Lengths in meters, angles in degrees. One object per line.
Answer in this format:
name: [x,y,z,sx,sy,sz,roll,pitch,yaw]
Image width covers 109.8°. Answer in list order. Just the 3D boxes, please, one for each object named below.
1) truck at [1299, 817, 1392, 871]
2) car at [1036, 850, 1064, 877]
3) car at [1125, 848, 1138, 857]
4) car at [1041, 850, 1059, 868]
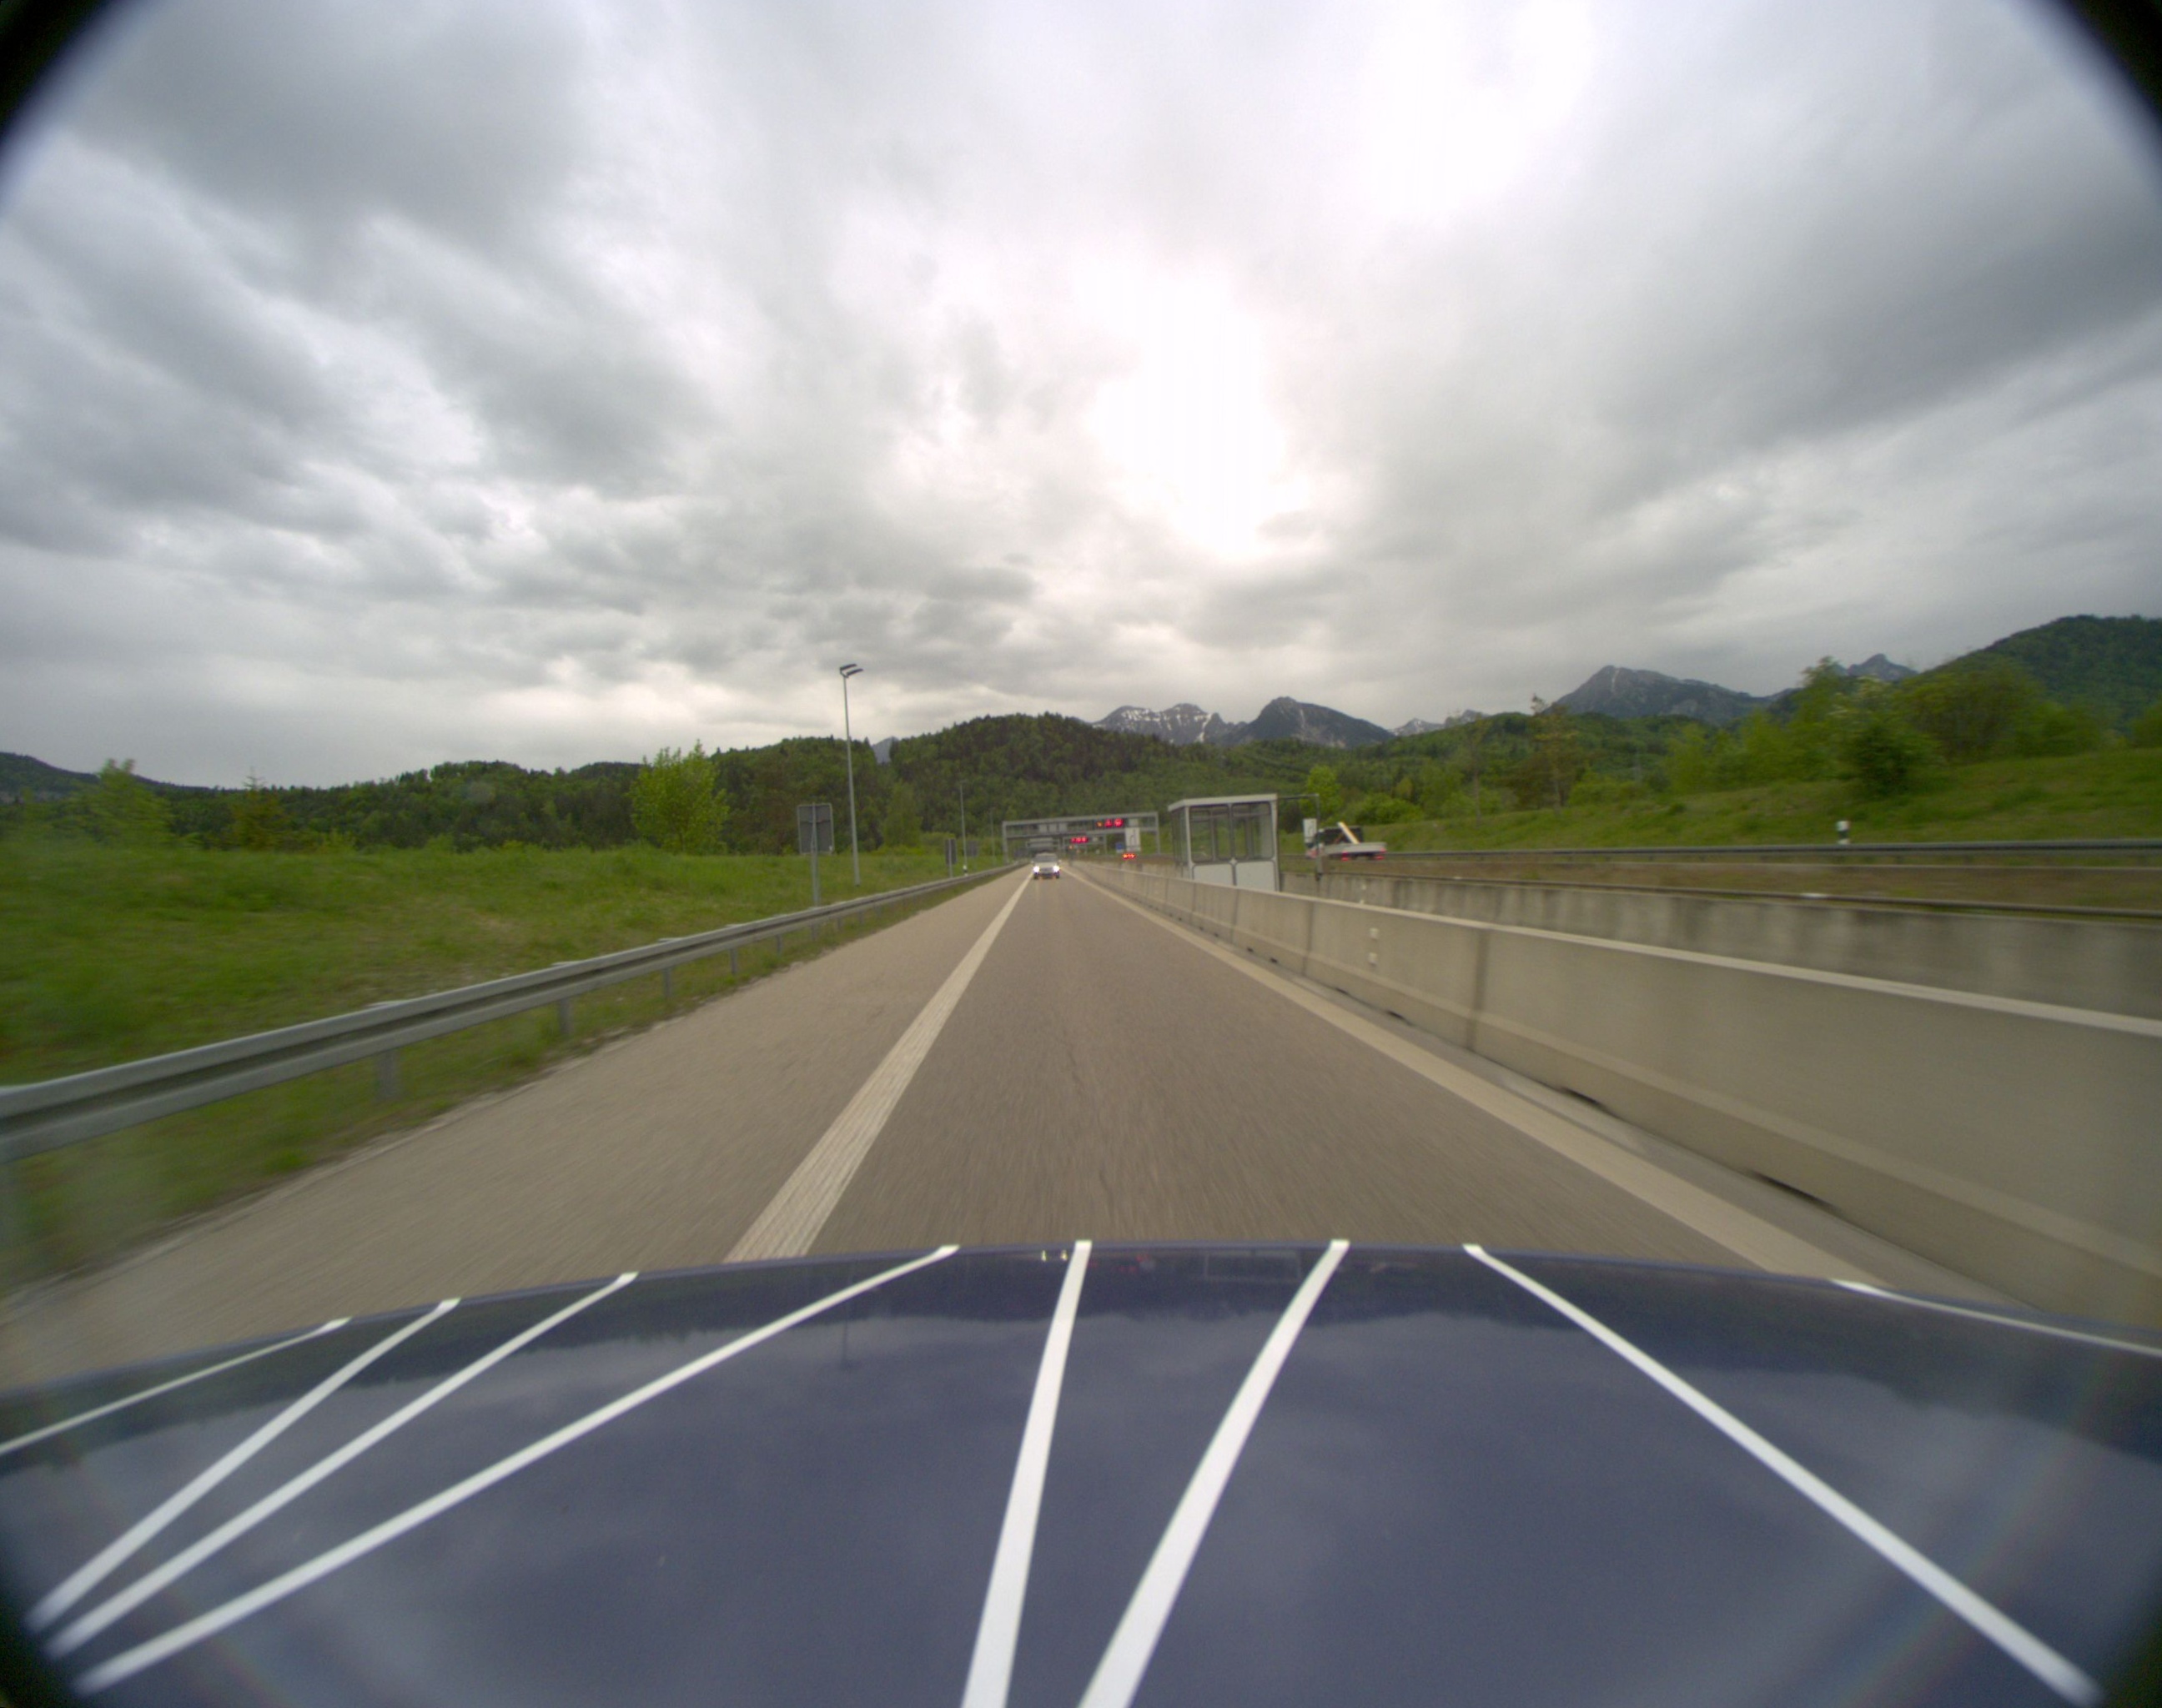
truck: [13.485,-0.494,39.257,2.363,2.465,5.986,-3,0,-3]
car: [-2.319,0.651,57.471,1.923,1.871,5.137,-1,1,-1]
car: [9.139,-0.278,137.575,1.707,1.565,4.175,-3,0,-2]
car: [-3.153,0.519,77.399,1.756,1.794,3.999,-2,0,-2]
